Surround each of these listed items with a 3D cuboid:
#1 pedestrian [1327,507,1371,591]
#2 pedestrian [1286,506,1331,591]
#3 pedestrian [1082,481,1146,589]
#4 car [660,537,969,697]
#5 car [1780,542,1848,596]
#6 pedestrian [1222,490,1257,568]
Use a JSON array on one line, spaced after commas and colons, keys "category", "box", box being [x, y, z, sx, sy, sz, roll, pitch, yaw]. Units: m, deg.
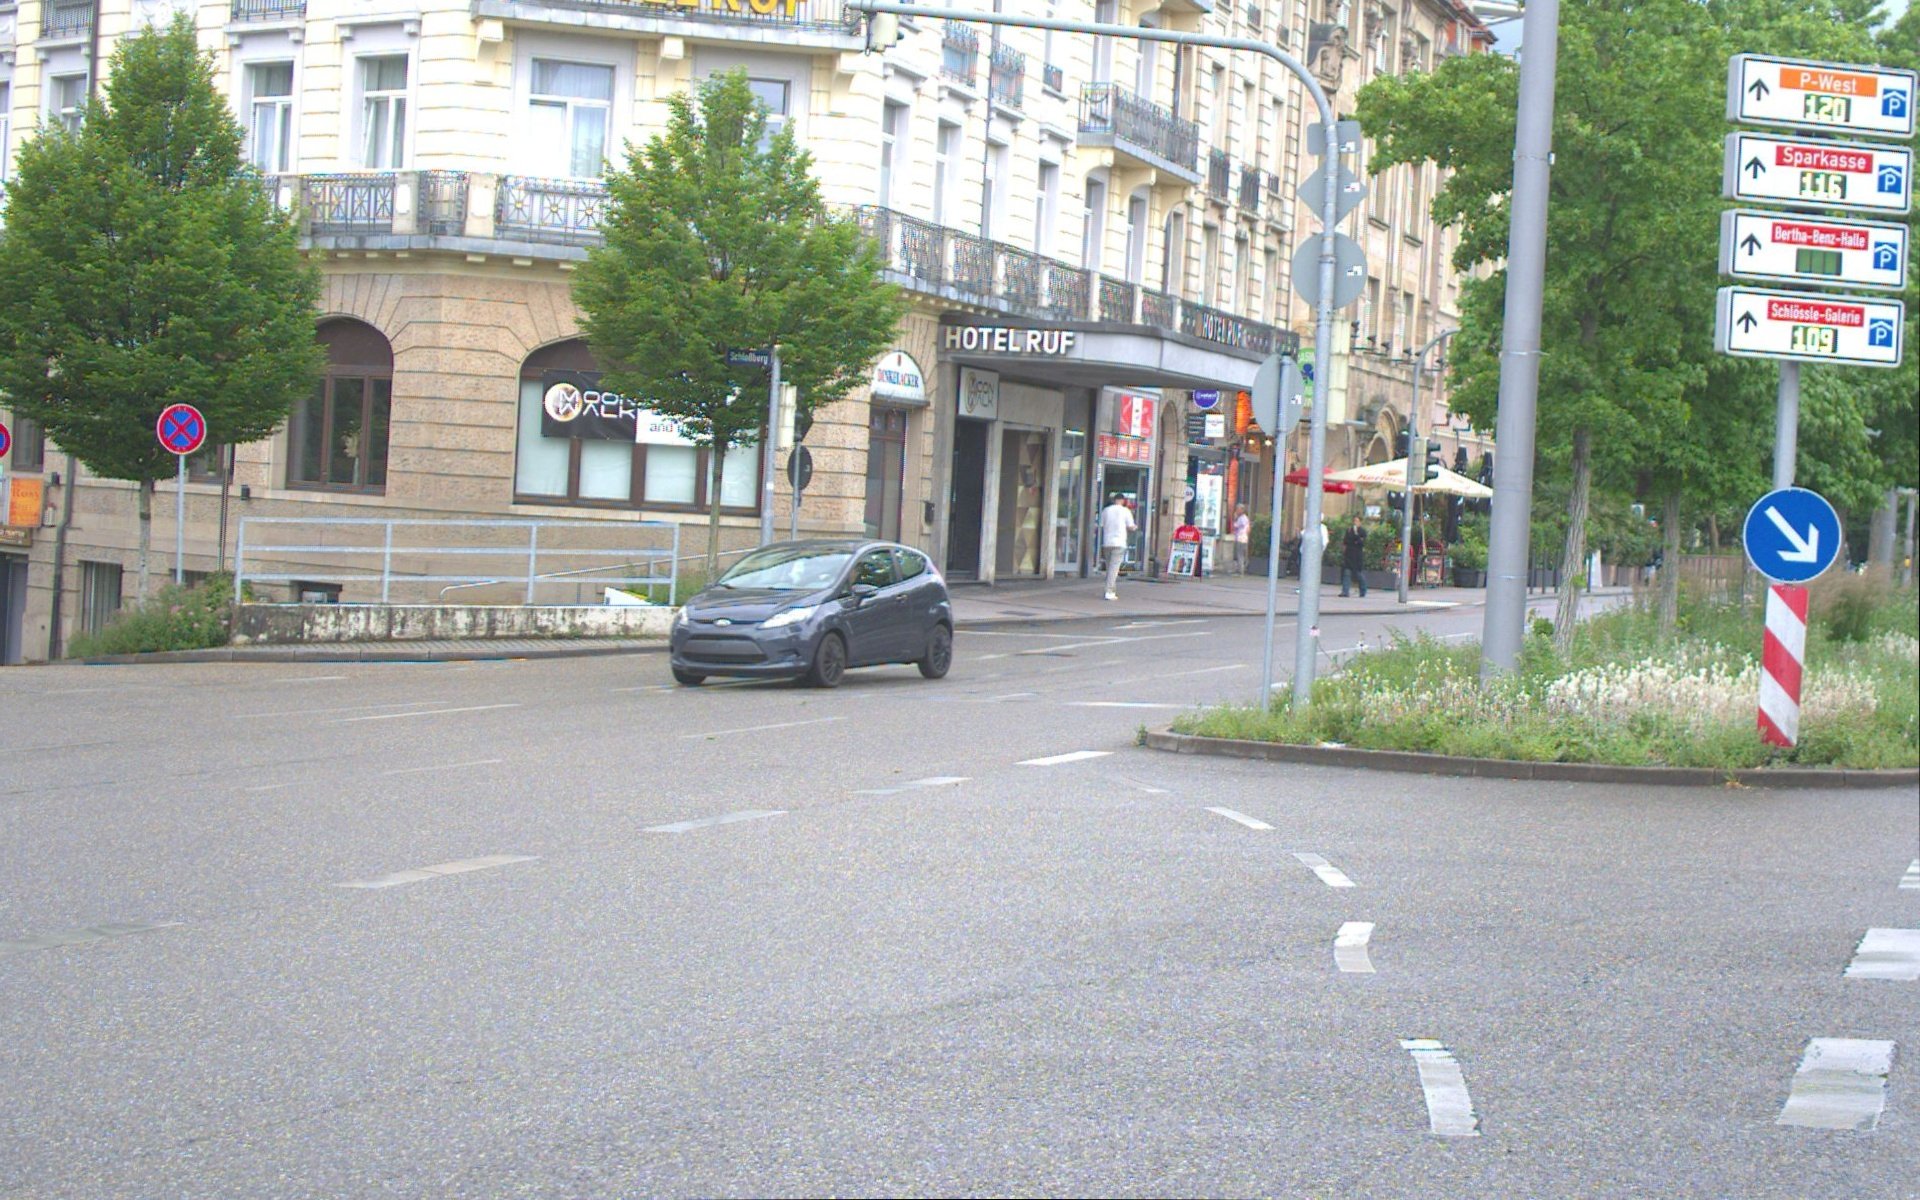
[{"category": "pedestrian", "box": [7.698, -1.007, 67.995, 0.682, 1.658, 0.806, 1, 1, 19]}, {"category": "pedestrian", "box": [6.929, -1.024, 68.395, 0.682, 1.658, 0.806, 1, 1, 22]}, {"category": "pedestrian", "box": [2.589, -1.089, 57.853, 0.880, 1.806, 0.750, 1, 1, 18]}, {"category": "car", "box": [-1.407, 0.142, 34.769, 1.679, 1.507, 3.859, 1, 1, 22]}, {"category": "car", "box": [32.942, -1.189, 132.587, 1.995, 2.007, 4.996, 1, 1, 20]}, {"category": "pedestrian", "box": [6.007, -1.523, 73.889, 0.667, 1.658, 0.536, 1, 1, 10]}]
